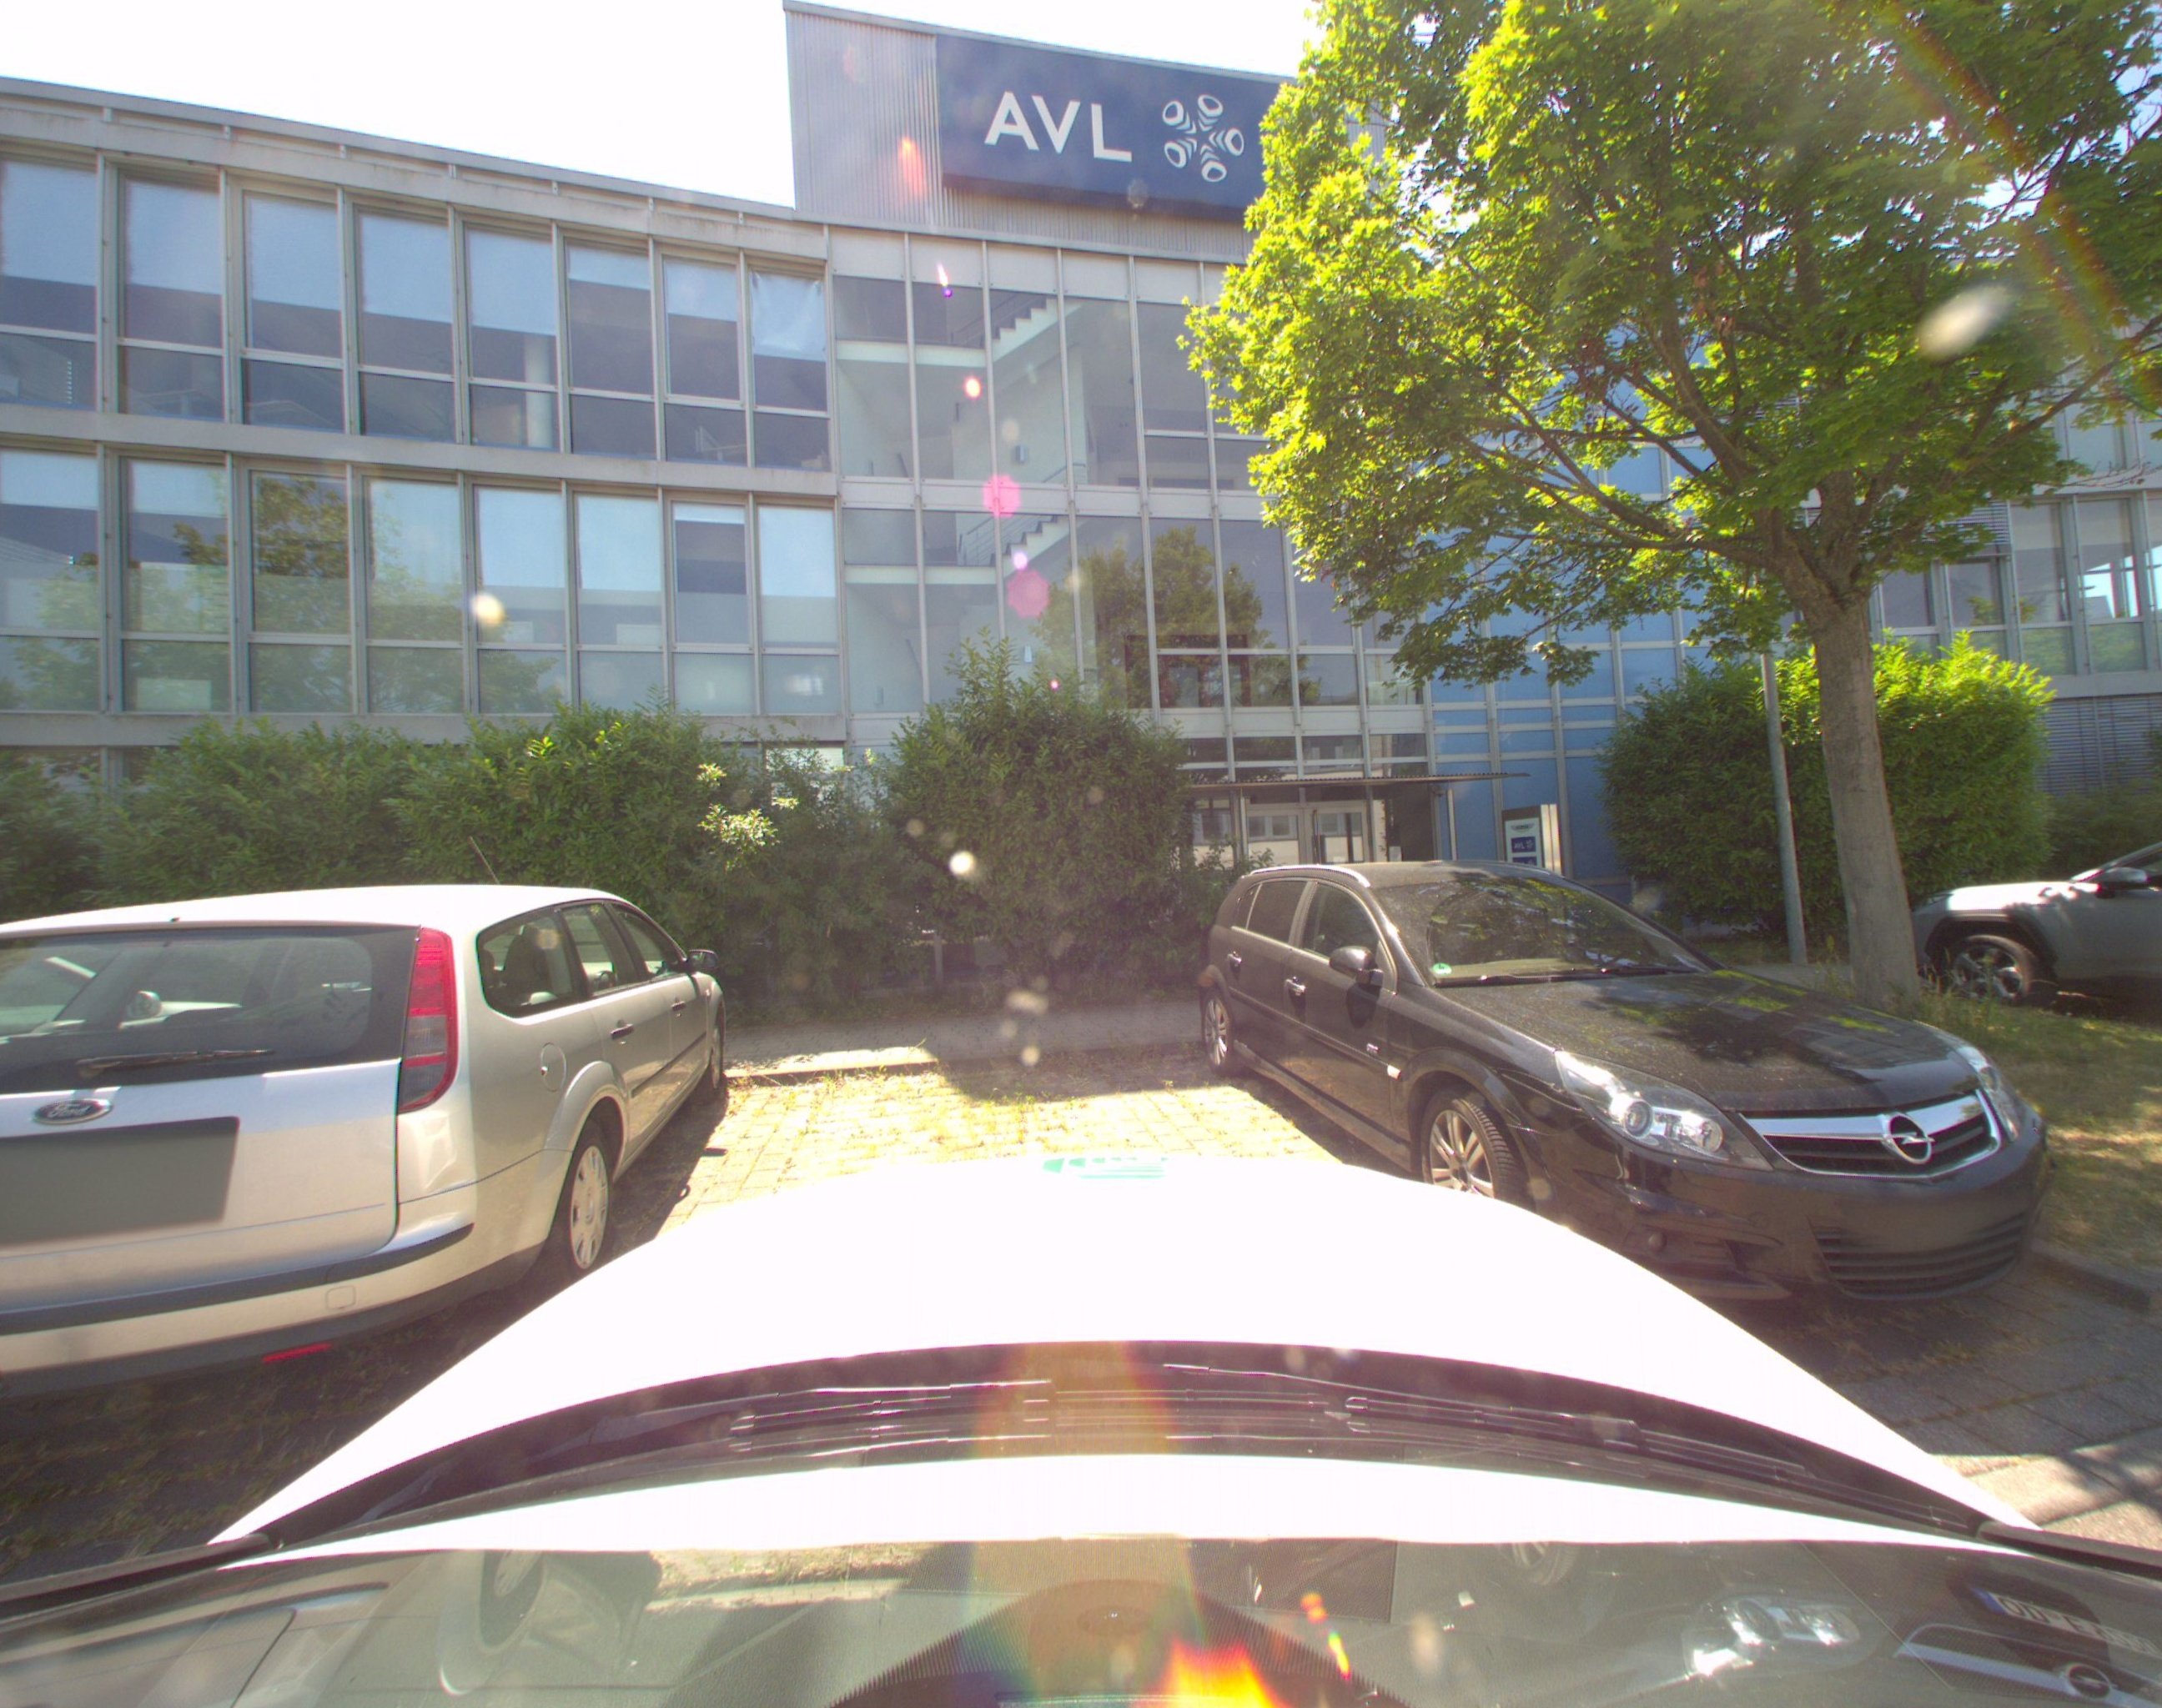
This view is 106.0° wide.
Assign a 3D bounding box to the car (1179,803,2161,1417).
[{"bbox_3d":[2.021,0.706,4.502,1.757,1.549,4.551,-1,-1,-9],"label":"car"}]

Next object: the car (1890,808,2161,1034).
[{"bbox_3d":[8.798,0.461,5.637,1.849,1.643,4.322,-1,0,-7],"label":"car"}]

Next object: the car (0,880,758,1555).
[{"bbox_3d":[-2.848,0.893,3.975,1.721,1.479,4.328,-1,-1,-13],"label":"car"}]

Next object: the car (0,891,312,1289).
[{"bbox_3d":[-4.888,0.924,2.809,1.651,1.479,3.870,-1,-1,-16],"label":"car"}]
